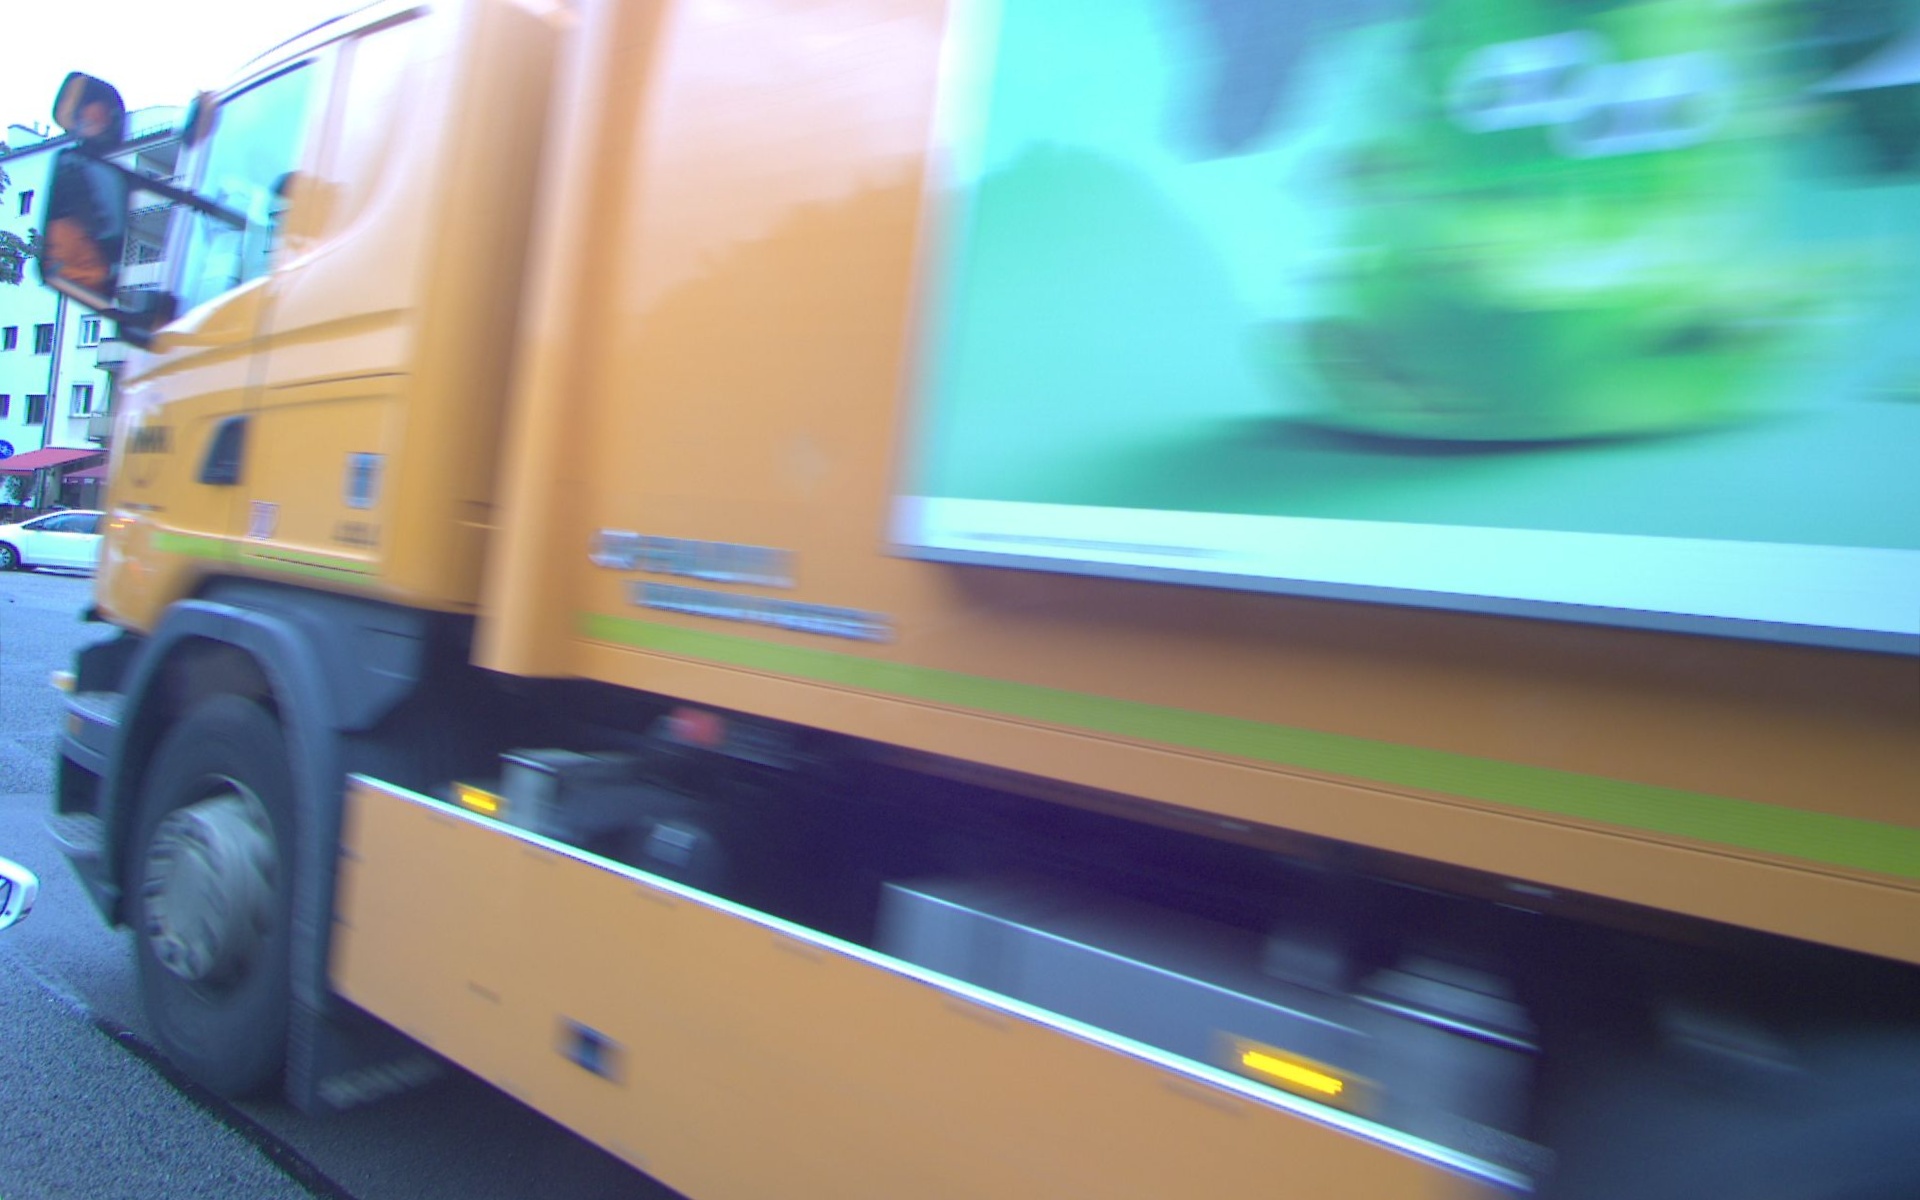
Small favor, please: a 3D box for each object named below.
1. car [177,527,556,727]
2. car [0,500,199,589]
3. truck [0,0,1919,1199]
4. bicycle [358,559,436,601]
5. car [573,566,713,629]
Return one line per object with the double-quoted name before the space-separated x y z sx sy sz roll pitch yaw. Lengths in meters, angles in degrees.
"car" -6.022 0.251 10.137 3.613 1.482 1.621 7 -3 31
"car" -19.060 -1.214 21.999 3.522 1.434 1.857 8 0 -30
"truck" 1.642 0.136 1.977 8.976 3.226 3.046 7 -1 29
"bicycle" -16.321 -0.577 29.209 0.548 0.968 1.852 7 -2 30
"car" -10.770 -0.052 34.508 1.839 1.681 4.402 7 0 28
